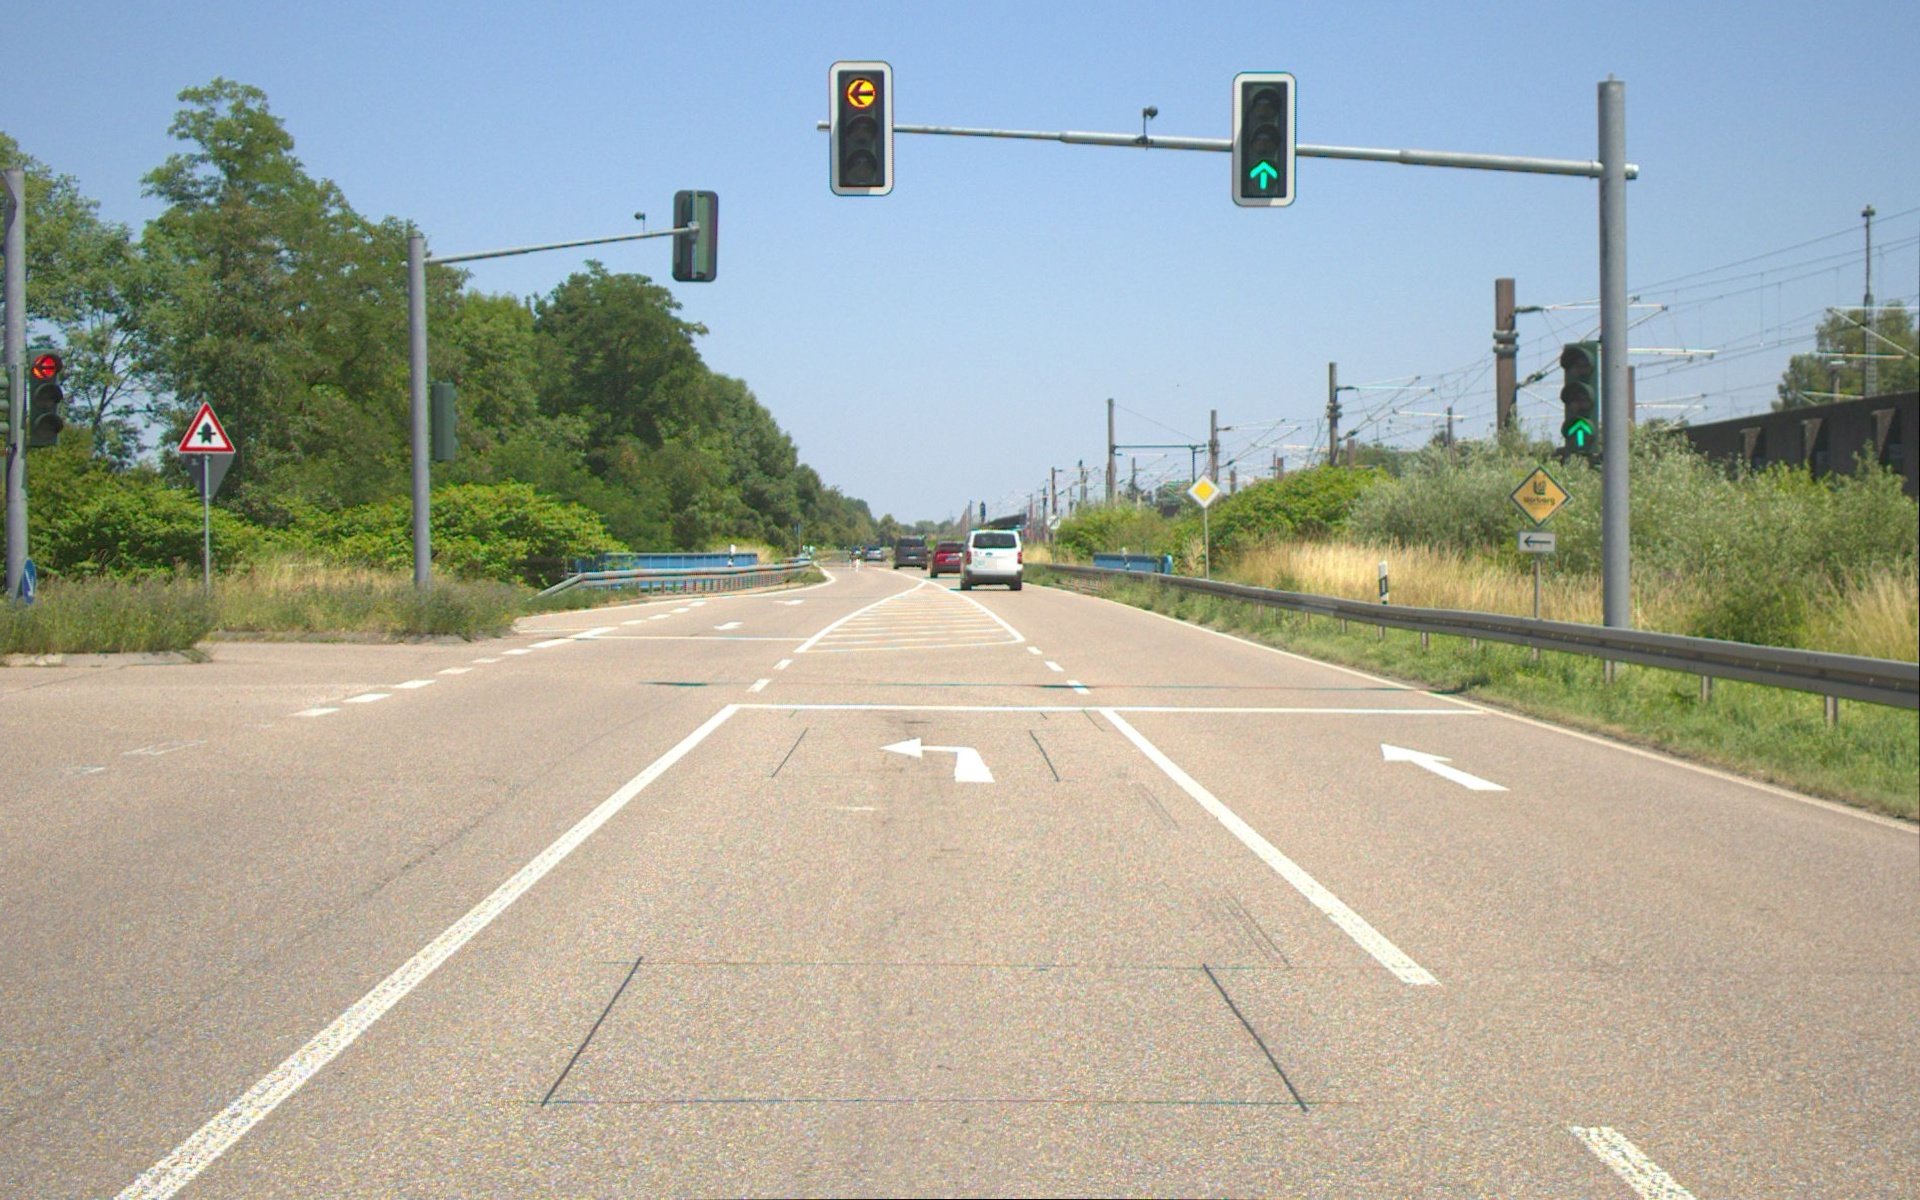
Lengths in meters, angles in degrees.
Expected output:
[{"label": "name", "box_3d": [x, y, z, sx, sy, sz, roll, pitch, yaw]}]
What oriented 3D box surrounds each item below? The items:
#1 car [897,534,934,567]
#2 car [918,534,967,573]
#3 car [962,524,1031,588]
[{"label": "car", "box_3d": [-2.742, -3.068, 211.156, 2.154, 1.961, 4.543, 1, 1, -2]}, {"label": "car", "box_3d": [-0.819, -2.087, 154.441, 2.019, 1.720, 4.543, 1, 1, -2]}, {"label": "car", "box_3d": [1.160, -1.438, 111.034, 1.993, 1.977, 4.060, 1, 1, -2]}]
